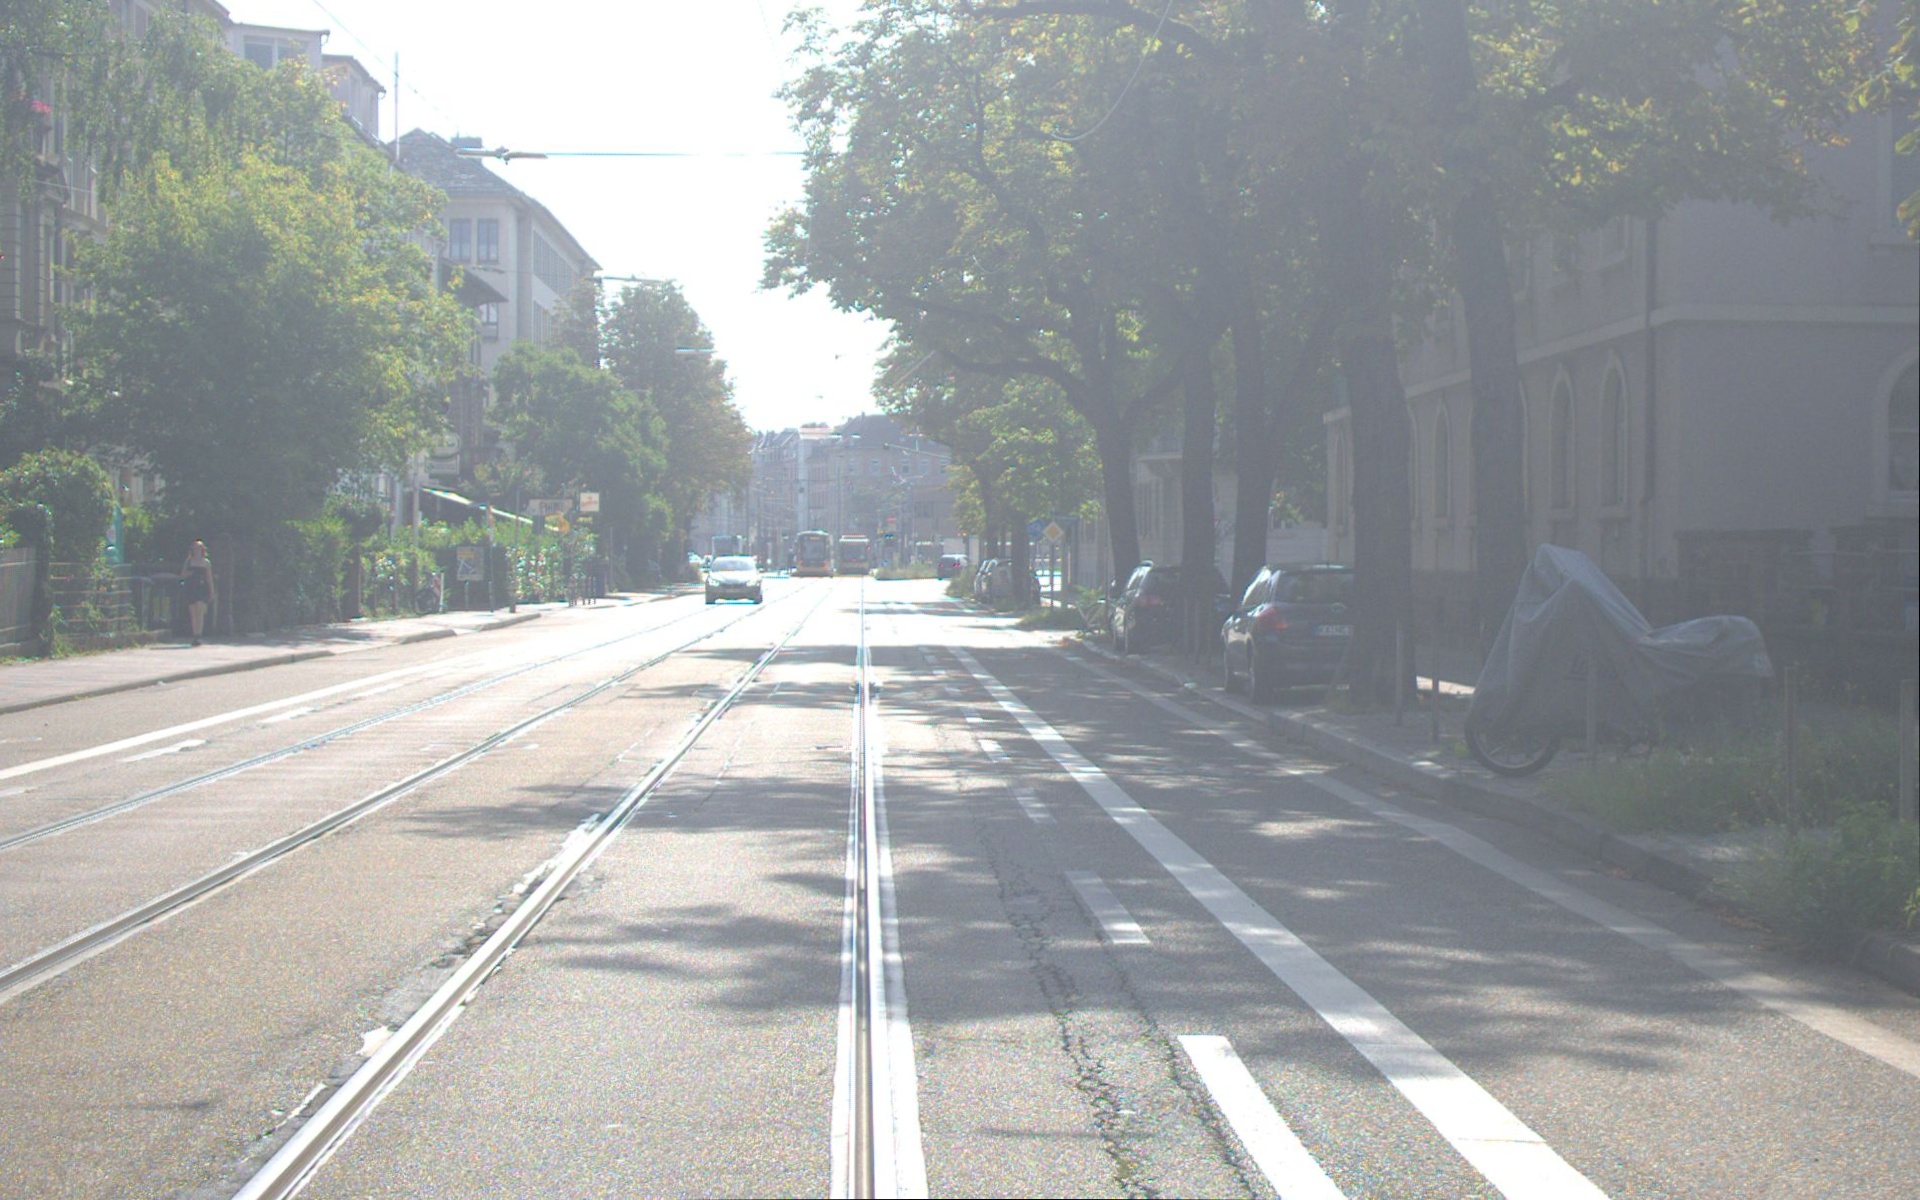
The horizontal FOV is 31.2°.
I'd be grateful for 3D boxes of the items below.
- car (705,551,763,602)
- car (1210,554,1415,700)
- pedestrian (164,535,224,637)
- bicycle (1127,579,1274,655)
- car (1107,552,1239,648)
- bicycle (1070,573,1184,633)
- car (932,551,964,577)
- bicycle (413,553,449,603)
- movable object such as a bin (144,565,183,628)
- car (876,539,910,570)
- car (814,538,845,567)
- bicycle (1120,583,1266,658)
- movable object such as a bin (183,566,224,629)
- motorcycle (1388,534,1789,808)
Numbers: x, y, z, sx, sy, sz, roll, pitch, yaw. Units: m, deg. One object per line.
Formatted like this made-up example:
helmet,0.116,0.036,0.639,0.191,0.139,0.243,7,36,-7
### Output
car,-7.374,-0.780,112.528,1.726,1.632,3.985,0,1,-2
car,3.856,0.259,38.147,1.726,1.499,3.985,-1,1,-2
pedestrian,-12.044,-0.218,54.076,0.752,1.586,0.878,0,1,-1
bicycle,3.563,0.254,50.990,2.106,1.101,0.563,0,1,-8
car,3.384,-0.005,55.166,1.771,1.468,3.974,0,0,-1
bicycle,3.190,0.059,65.645,2.106,1.101,0.616,-1,1,-2
car,-0.830,-2.505,238.923,1.994,1.777,4.000,2,1,3
bicycle,-13.206,-0.551,85.901,0.561,1.217,2.114,0,1,0
movable object such as a bin,-13.701,-0.060,59.149,0.589,1.074,0.705,0,1,-8
car,-4.483,-3.046,231.084,1.993,2.007,4.000,2,1,2
car,-9.468,-3.471,249.427,1.993,2.007,4.000,2,1,1
bicycle,3.491,0.312,51.514,2.106,1.101,0.563,0,1,-8
movable object such as a bin,-13.034,-0.039,59.236,0.631,1.074,0.705,0,1,-8
motorcycle,4.053,0.434,22.316,2.418,1.668,0.911,0,2,43
